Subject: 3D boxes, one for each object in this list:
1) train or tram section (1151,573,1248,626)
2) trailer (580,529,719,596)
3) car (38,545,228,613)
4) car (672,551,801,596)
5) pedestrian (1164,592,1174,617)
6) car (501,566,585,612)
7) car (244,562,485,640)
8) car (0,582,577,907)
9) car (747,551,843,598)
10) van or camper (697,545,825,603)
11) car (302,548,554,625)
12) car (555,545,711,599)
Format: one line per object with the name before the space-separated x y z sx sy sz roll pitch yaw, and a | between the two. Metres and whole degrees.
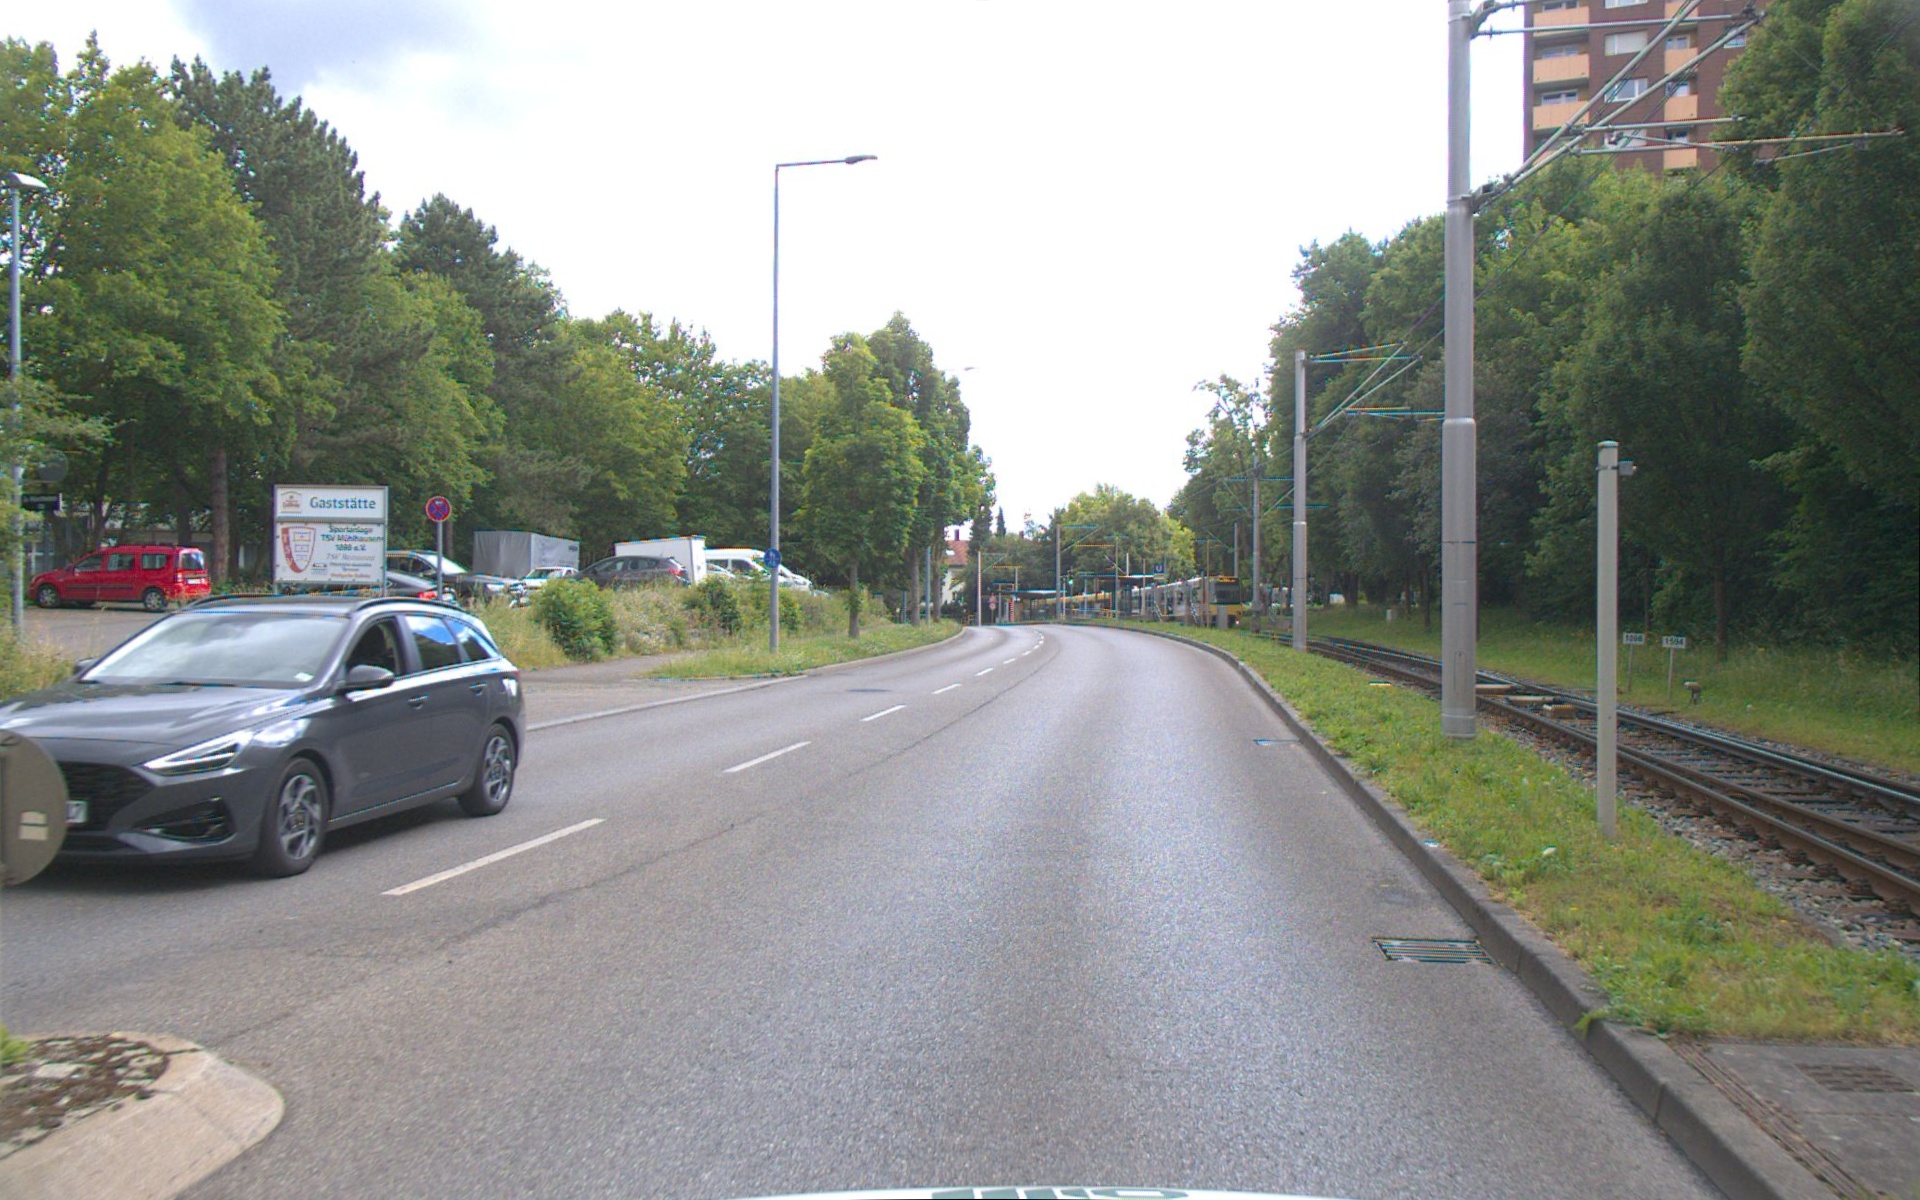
train or tram section | 17.518 -0.181 124.543 2.945 3.368 34.717 1 0 1
trailer | -9.796 -1.184 52.300 3.902 2.049 1.909 1 1 7
car | -21.452 -0.538 43.018 3.905 1.691 2.000 0 0 -1
car | -8.643 -1.036 64.149 4.543 1.685 2.002 0 0 11
pedestrian | 12.760 0.267 100.918 0.556 1.490 0.595 0 0 0
car | -15.229 -0.395 60.605 1.846 1.612 3.667 1 1 6
car | -11.346 0.007 31.695 3.872 1.421 2.001 0 1 2
car | -4.158 0.663 10.196 1.951 1.463 4.430 2 1 9
car | -7.348 -1.132 73.683 3.902 2.049 2.001 0 0 6
van or camper | -7.990 -1.051 66.642 4.788 2.241 2.001 1 1 4
car | -11.719 -0.303 36.680 4.822 1.612 2.208 0 0 3
car | -9.703 -0.818 49.238 4.223 1.474 1.836 -1 0 0
